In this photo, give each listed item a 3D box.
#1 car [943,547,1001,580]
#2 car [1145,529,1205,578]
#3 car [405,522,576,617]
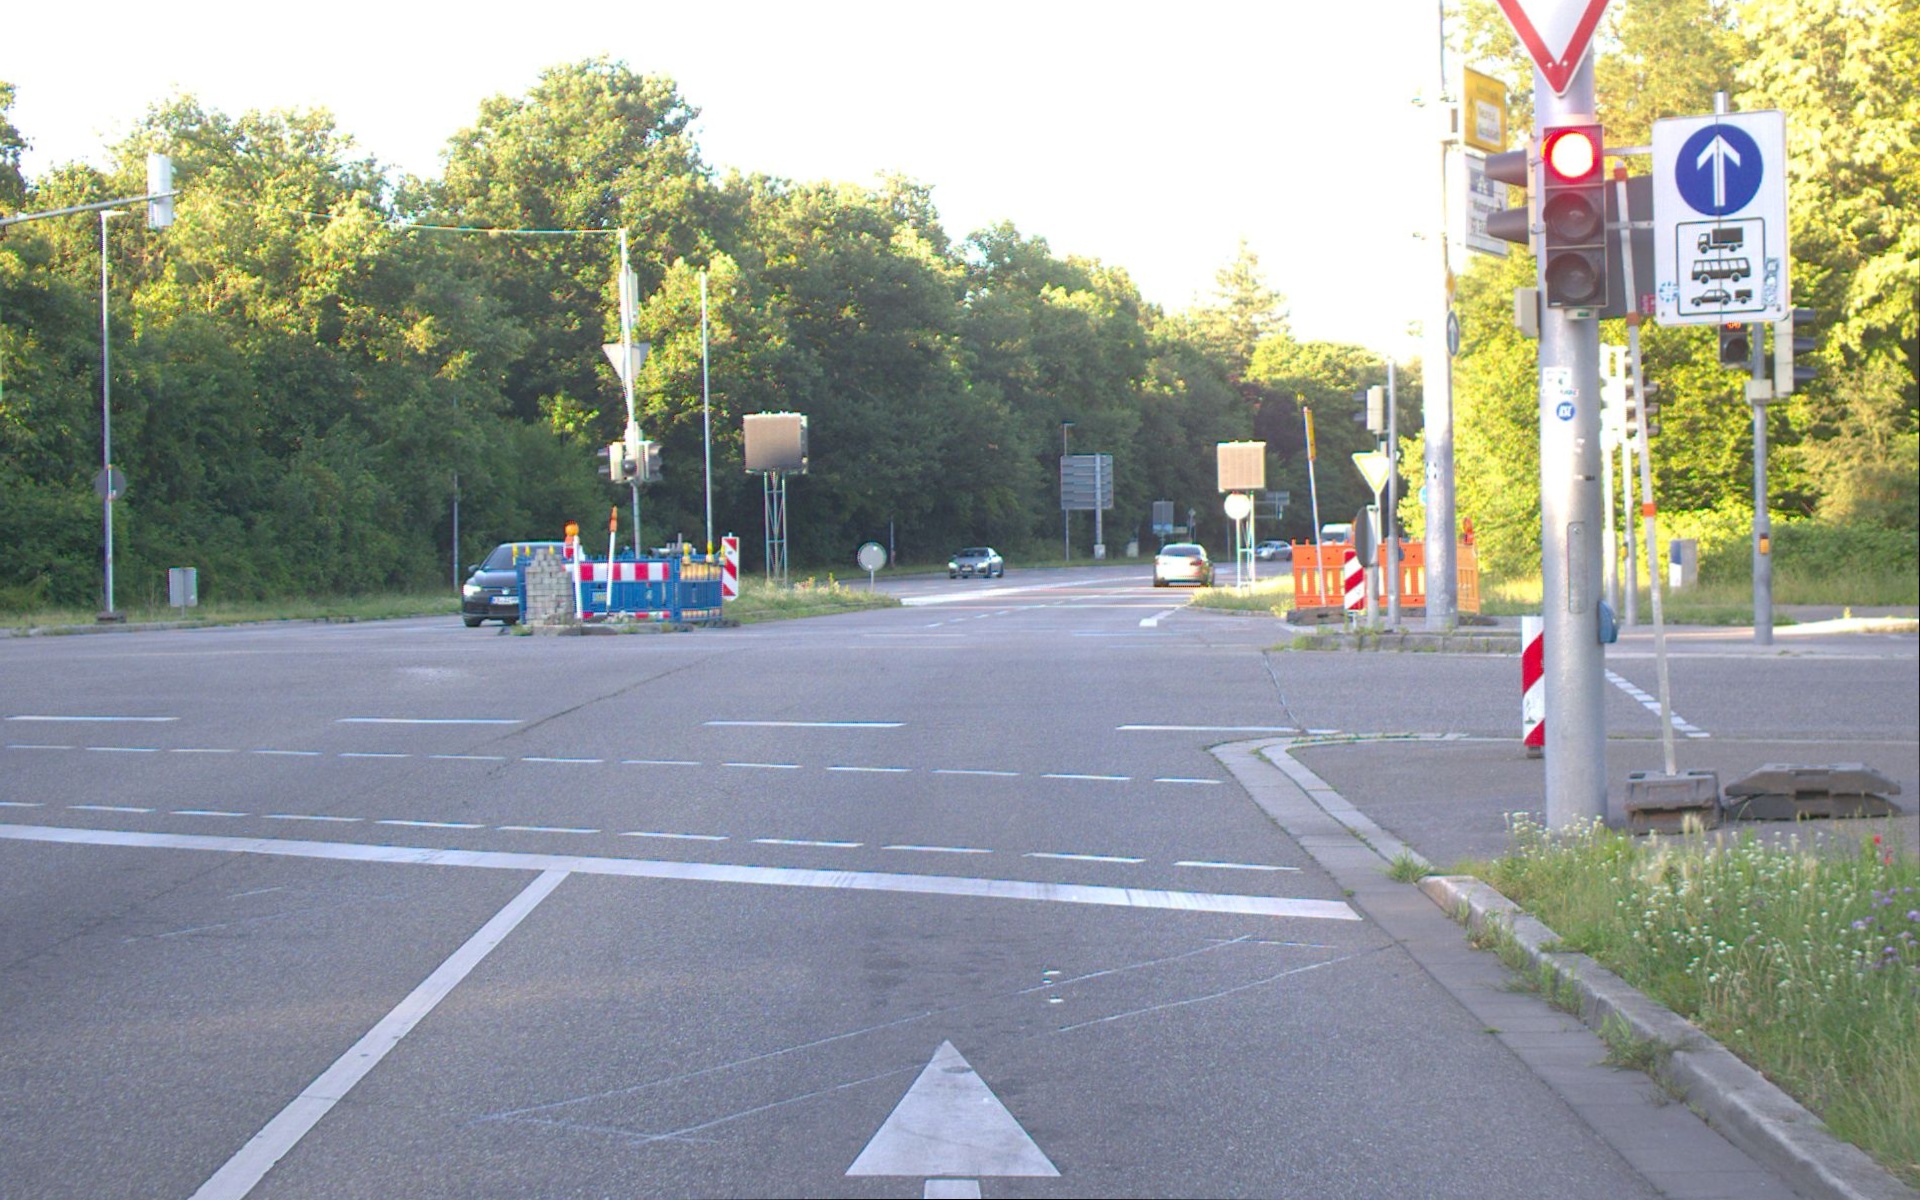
[{"bbox_3d":[0.542,-1.654,156.013,1.994,1.415,3.999,-1,1,10],"label":"car"},{"bbox_3d":[7.397,-1.604,118.102,1.994,1.612,4.000,-1,1,4],"label":"car"},{"bbox_3d":[-8.040,-0.557,59.275,1.994,1.524,4.678,-1,1,4],"label":"car"}]
